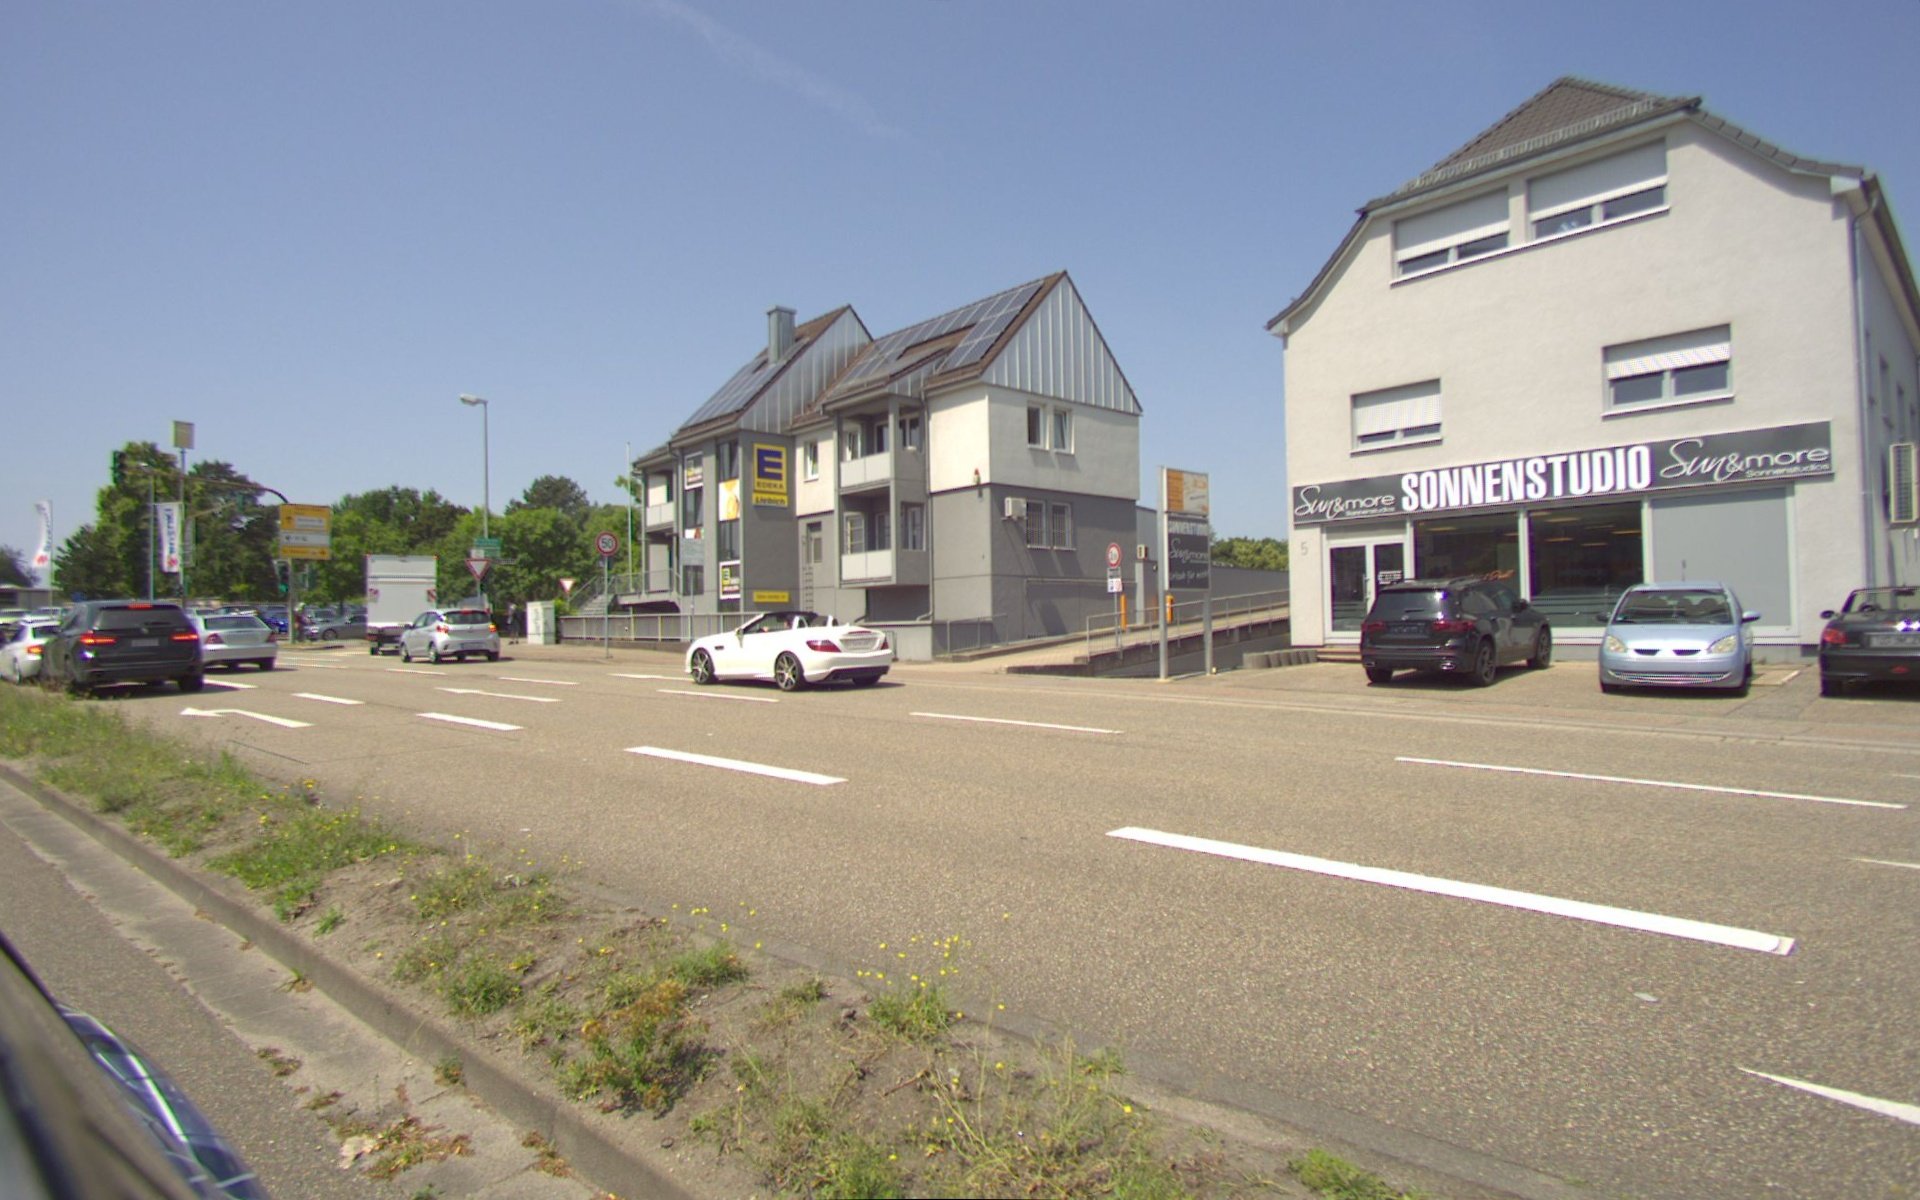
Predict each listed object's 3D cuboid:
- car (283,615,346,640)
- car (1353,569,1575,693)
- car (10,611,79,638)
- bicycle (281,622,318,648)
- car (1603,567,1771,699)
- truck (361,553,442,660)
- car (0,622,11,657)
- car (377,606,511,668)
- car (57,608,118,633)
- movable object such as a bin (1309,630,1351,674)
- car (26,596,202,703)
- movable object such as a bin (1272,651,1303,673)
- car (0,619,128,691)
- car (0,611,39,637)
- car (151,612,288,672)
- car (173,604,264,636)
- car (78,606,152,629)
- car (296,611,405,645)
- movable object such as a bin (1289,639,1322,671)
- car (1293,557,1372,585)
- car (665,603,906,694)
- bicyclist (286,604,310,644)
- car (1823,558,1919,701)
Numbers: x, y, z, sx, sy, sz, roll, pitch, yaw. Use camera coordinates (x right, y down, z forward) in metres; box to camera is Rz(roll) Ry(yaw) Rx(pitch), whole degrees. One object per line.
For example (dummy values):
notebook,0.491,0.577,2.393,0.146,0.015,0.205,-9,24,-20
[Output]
car,-41.822,1.752,65.561,3.983,1.548,1.778,0,1,30
car,8.527,0.421,16.913,4.552,1.639,1.855,-4,2,-44
car,-56.179,1.472,62.195,1.885,1.552,3.976,-1,1,-22
bicycle,-27.343,1.451,41.908,1.779,1.062,0.418,-1,0,25
car,10.957,0.386,15.138,1.750,1.507,4.562,-2,2,39
truck,-20.038,0.189,36.340,2.233,3.443,7.061,-2,1,-29
car,-39.785,1.577,40.432,4.336,1.376,1.847,-1,-2,35
car,-14.383,0.966,28.137,4.195,1.578,1.878,-1,0,41
car,-53.155,1.232,61.742,1.686,1.443,3.976,1,0,-23
movable object such as a bin,12.493,1.733,34.150,1.021,1.396,1.164,0,1,39
car,-16.140,0.834,19.210,4.758,1.764,1.889,0,1,42
movable object such as a bin,10.389,1.958,32.084,0.646,0.672,0.844,-2,-1,40
car,-20.837,1.189,23.093,4.737,1.442,1.845,-1,0,38
car,-58.736,1.484,62.478,1.727,1.521,3.833,-1,1,-26
car,-18.702,1.002,25.494,4.195,1.371,1.878,-1,0,41
car,-45.709,1.231,62.470,4.234,1.916,1.836,1,0,-25
car,-64.640,1.356,77.453,4.703,1.662,1.690,-1,0,9
car,-32.675,1.465,54.383,1.756,1.622,4.711,0,1,32
movable object such as a bin,11.283,1.782,33.064,0.749,1.019,0.887,-2,-1,40
car,21.564,-1.648,58.632,3.990,1.536,1.747,0,1,35
car,-3.075,0.757,17.218,4.355,1.364,1.785,-1,-1,43
bicyclist,-27.482,0.996,42.040,0.816,1.655,0.419,-2,0,25
car,12.747,0.284,13.229,2.000,1.532,4.012,-1,3,44
